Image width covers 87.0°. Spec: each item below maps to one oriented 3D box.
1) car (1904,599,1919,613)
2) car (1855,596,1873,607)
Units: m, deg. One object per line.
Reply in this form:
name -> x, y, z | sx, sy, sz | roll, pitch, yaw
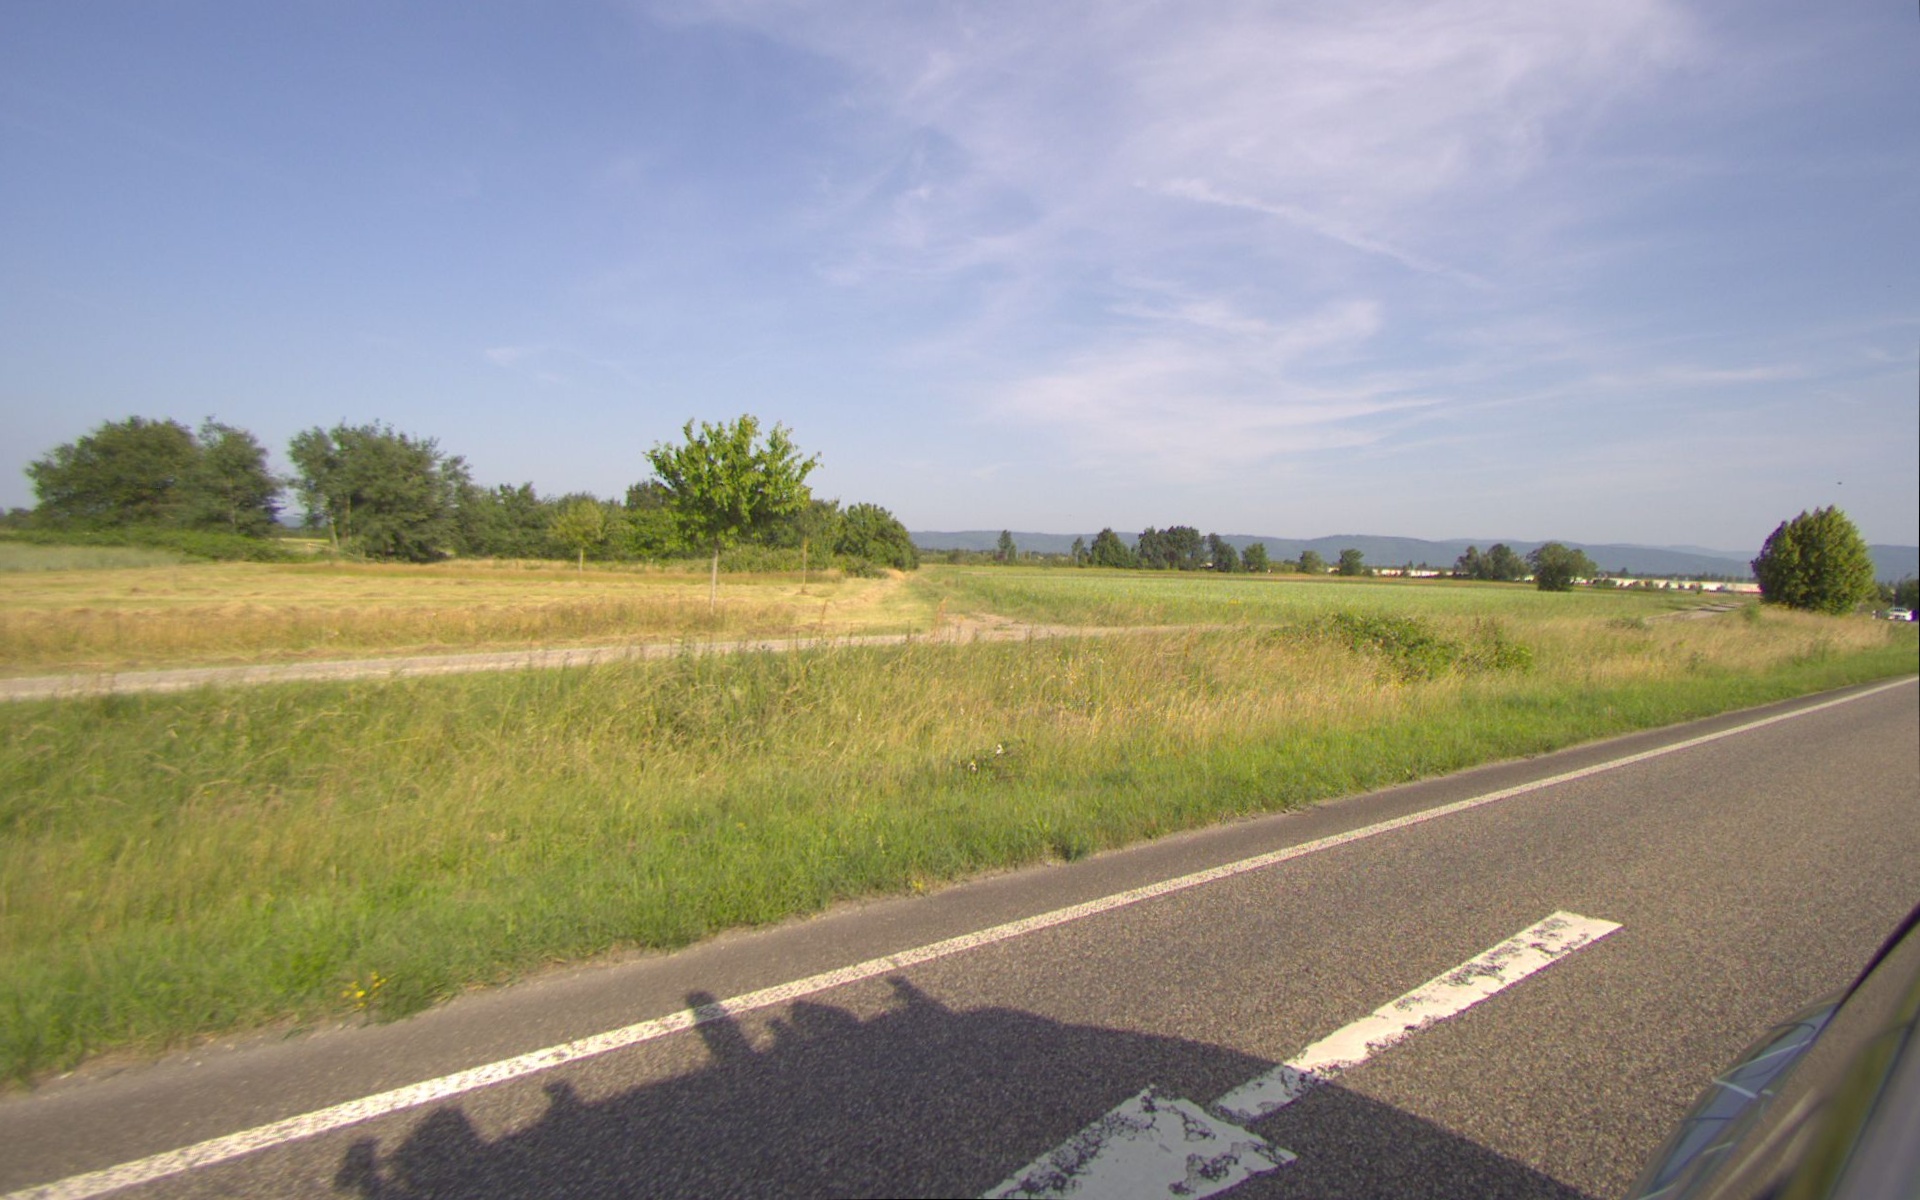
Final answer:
car -> 101.597, 0.658, 107.549 | 1.551, 1.417, 3.978 | 2, 1, 39
car -> 122.611, 0.163, 137.291 | 1.550, 1.417, 3.980 | 2, 1, 38
